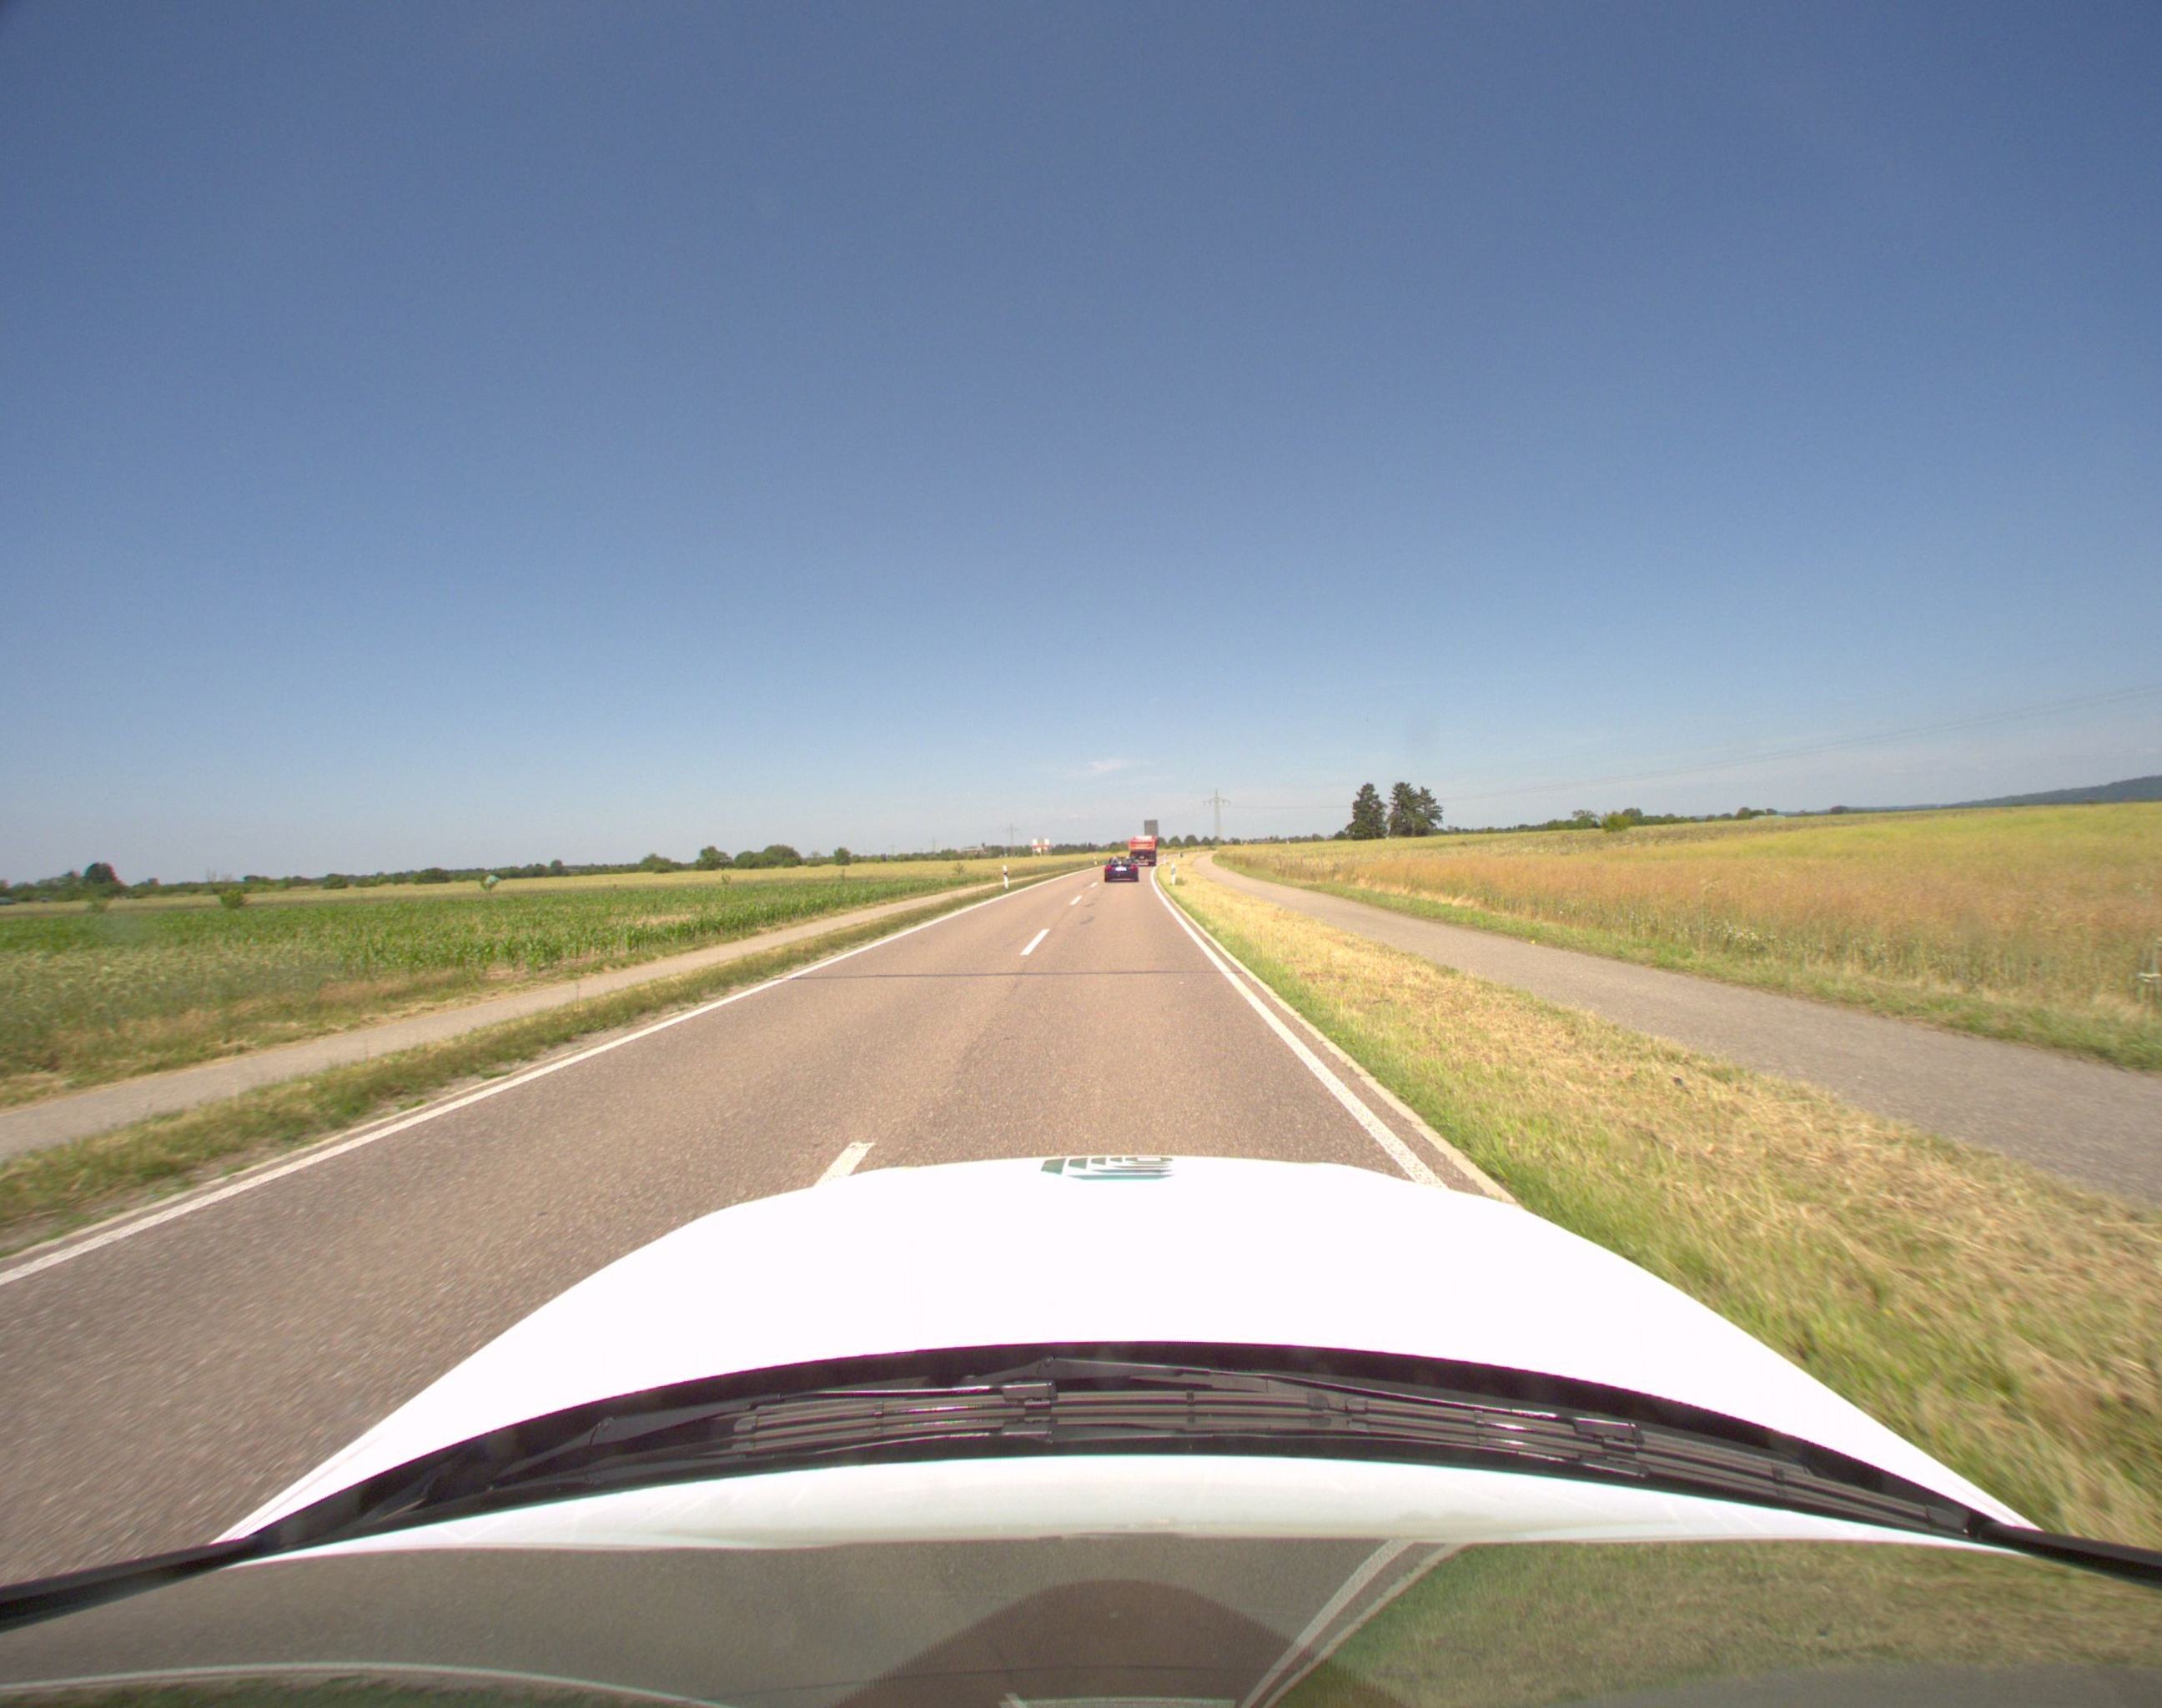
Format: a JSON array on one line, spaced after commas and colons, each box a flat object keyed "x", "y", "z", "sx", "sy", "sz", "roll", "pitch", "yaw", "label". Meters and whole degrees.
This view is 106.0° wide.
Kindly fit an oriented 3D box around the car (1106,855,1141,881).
[{"x": 2.283, "y": 0.722, "z": 42.692, "sx": 1.736, "sy": 1.280, "sz": 4.004, "roll": -1, "pitch": 0, "yaw": 4, "label": "car"}]

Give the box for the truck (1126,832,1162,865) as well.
[{"x": 6.464, "y": -0.497, "z": 82.263, "sx": 2.920, "sy": 3.089, "sz": 7.214, "roll": -1, "pitch": -1, "yaw": 9, "label": "truck"}]
